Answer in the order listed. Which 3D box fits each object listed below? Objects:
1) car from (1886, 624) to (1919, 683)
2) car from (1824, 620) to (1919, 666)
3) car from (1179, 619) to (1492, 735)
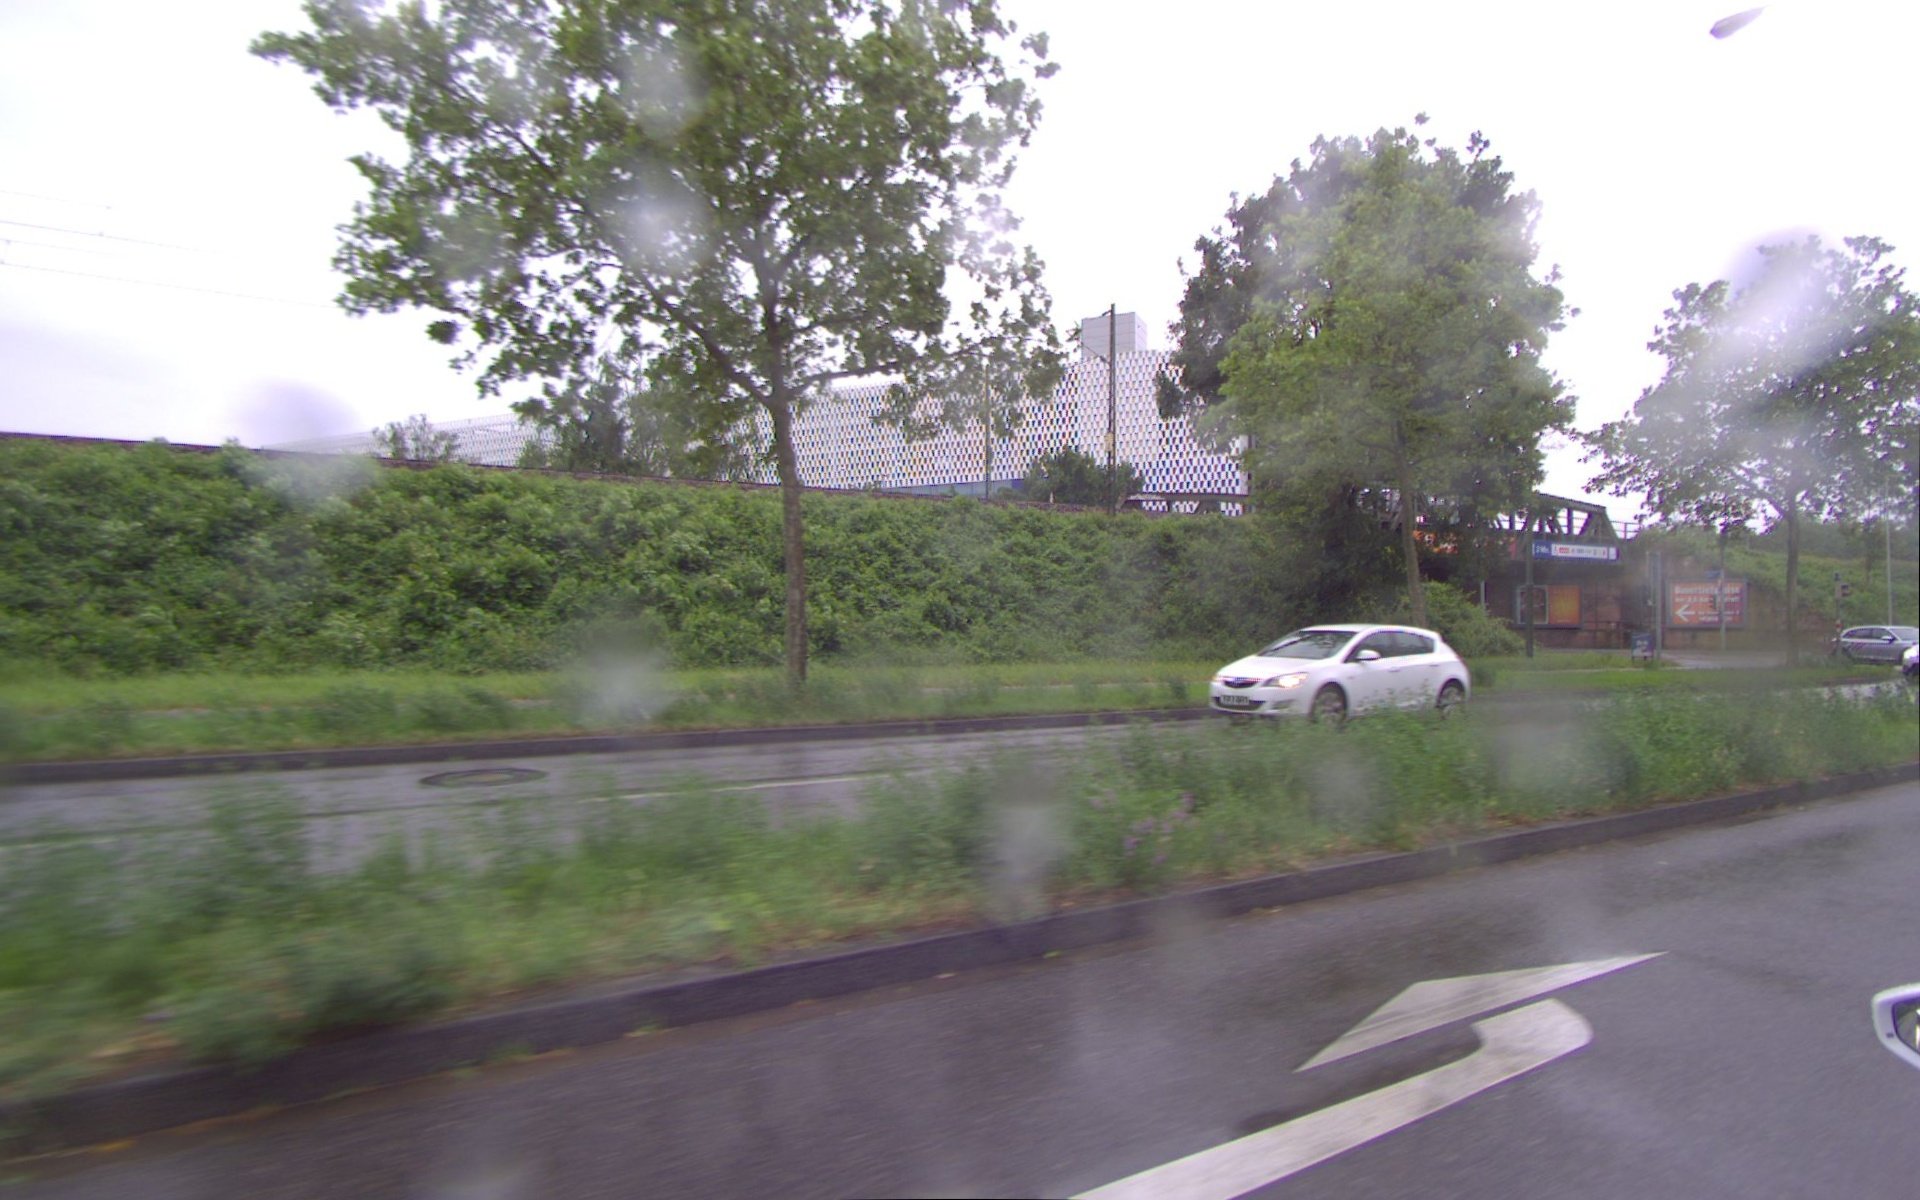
[{"bbox_3d":[27.998,1.482,28.097,4.465,1.610,1.848,1,-2,-30],"label":"car"},{"bbox_3d":[34.630,1.553,36.669,1.831,1.610,4.508,1,-1,-13],"label":"car"},{"bbox_3d":[5.649,1.050,14.964,4.603,1.464,1.921,1,-1,-31],"label":"car"}]
